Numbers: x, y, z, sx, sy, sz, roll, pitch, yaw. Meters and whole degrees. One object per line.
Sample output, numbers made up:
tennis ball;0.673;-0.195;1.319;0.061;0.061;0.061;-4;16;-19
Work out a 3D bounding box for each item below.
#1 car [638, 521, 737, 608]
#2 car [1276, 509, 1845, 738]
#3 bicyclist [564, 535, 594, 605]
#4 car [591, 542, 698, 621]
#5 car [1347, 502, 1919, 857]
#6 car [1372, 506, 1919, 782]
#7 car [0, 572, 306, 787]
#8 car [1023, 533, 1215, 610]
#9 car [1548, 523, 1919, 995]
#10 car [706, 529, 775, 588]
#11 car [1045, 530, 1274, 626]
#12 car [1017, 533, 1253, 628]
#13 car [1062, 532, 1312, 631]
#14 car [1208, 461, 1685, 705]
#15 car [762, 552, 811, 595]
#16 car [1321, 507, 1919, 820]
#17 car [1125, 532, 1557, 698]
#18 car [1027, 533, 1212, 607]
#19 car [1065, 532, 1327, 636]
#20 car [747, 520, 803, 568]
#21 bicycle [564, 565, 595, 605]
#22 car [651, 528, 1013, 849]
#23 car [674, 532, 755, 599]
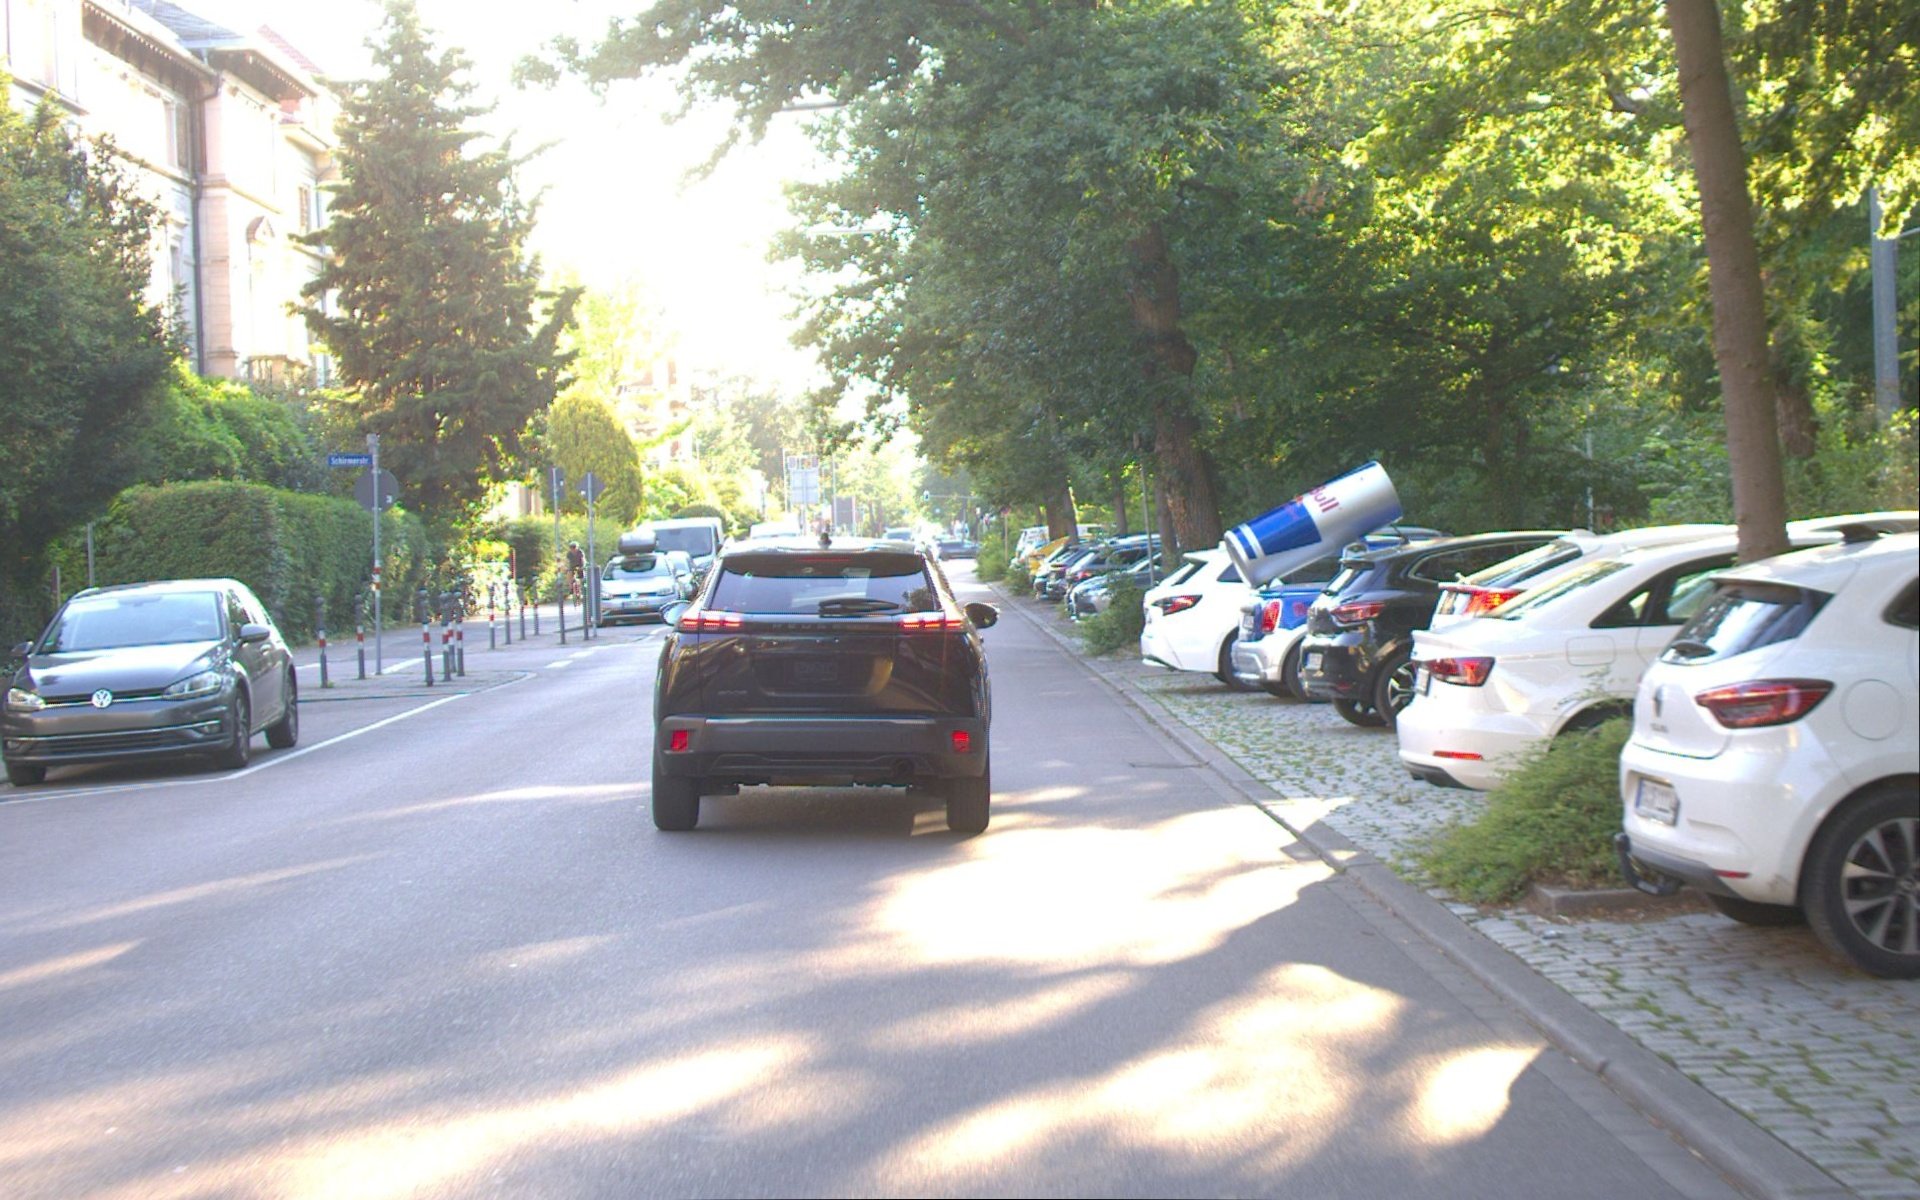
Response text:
car;-6.533;-0.867;82.848;1.993;2.007;4.000;-1;1;1
car;4.588;0.156;26.596;3.986;1.619;1.758;-1;1;-5
bicyclist;-9.800;-0.778;88.503;0.693;1.786;0.773;-1;1;-3
car;-6.586;-0.408;72.124;1.899;1.568;4.000;-1;1;-1
car;4.095;0.341;17.214;3.986;1.619;1.758;-1;1;-5
car;4.804;0.241;22.038;3.986;1.619;1.758;-1;1;-5
car;-6.324;0.563;26.876;1.752;1.409;3.765;-4;1;-2
car;3.366;-0.616;73.239;3.987;1.520;1.758;-1;1;1
car;4.177;0.417;11.942;3.807;1.444;1.826;-3;1;-4
car;-7.042;-1.354;110.497;1.993;1.809;4.000;-1;1;-1
car;3.547;-0.404;61.656;3.987;1.618;1.758;-1;1;1
car;2.996;-0.350;59.427;3.987;1.520;1.758;-1;1;1
car;3.705;-0.310;56.515;3.987;1.520;1.758;-1;1;1
car;4.410;-0.167;31.508;3.986;2.082;1.758;-1;1;-5
car;-7.644;-1.184;152.108;1.993;1.809;4.000;-1;1;-1
car;4.201;0.311;19.486;3.986;1.619;1.758;-1;1;-5
car;3.765;0.132;34.326;3.986;1.520;1.758;-1;1;-5
car;3.486;-0.660;75.671;3.987;1.520;1.758;-1;1;1
car;3.672;-0.257;54.020;3.987;1.520;1.758;-1;1;1
car;-7.240;-2.207;134.820;1.993;1.809;4.000;-1;1;-1
bicycle;-9.803;-0.393;88.602;0.691;1.012;2.049;-1;1;-4
car;-0.752;0.399;19.139;1.771;1.563;4.109;1;1;-3
car;-6.736;-0.959;94.721;1.993;1.762;4.000;-1;1;-1
